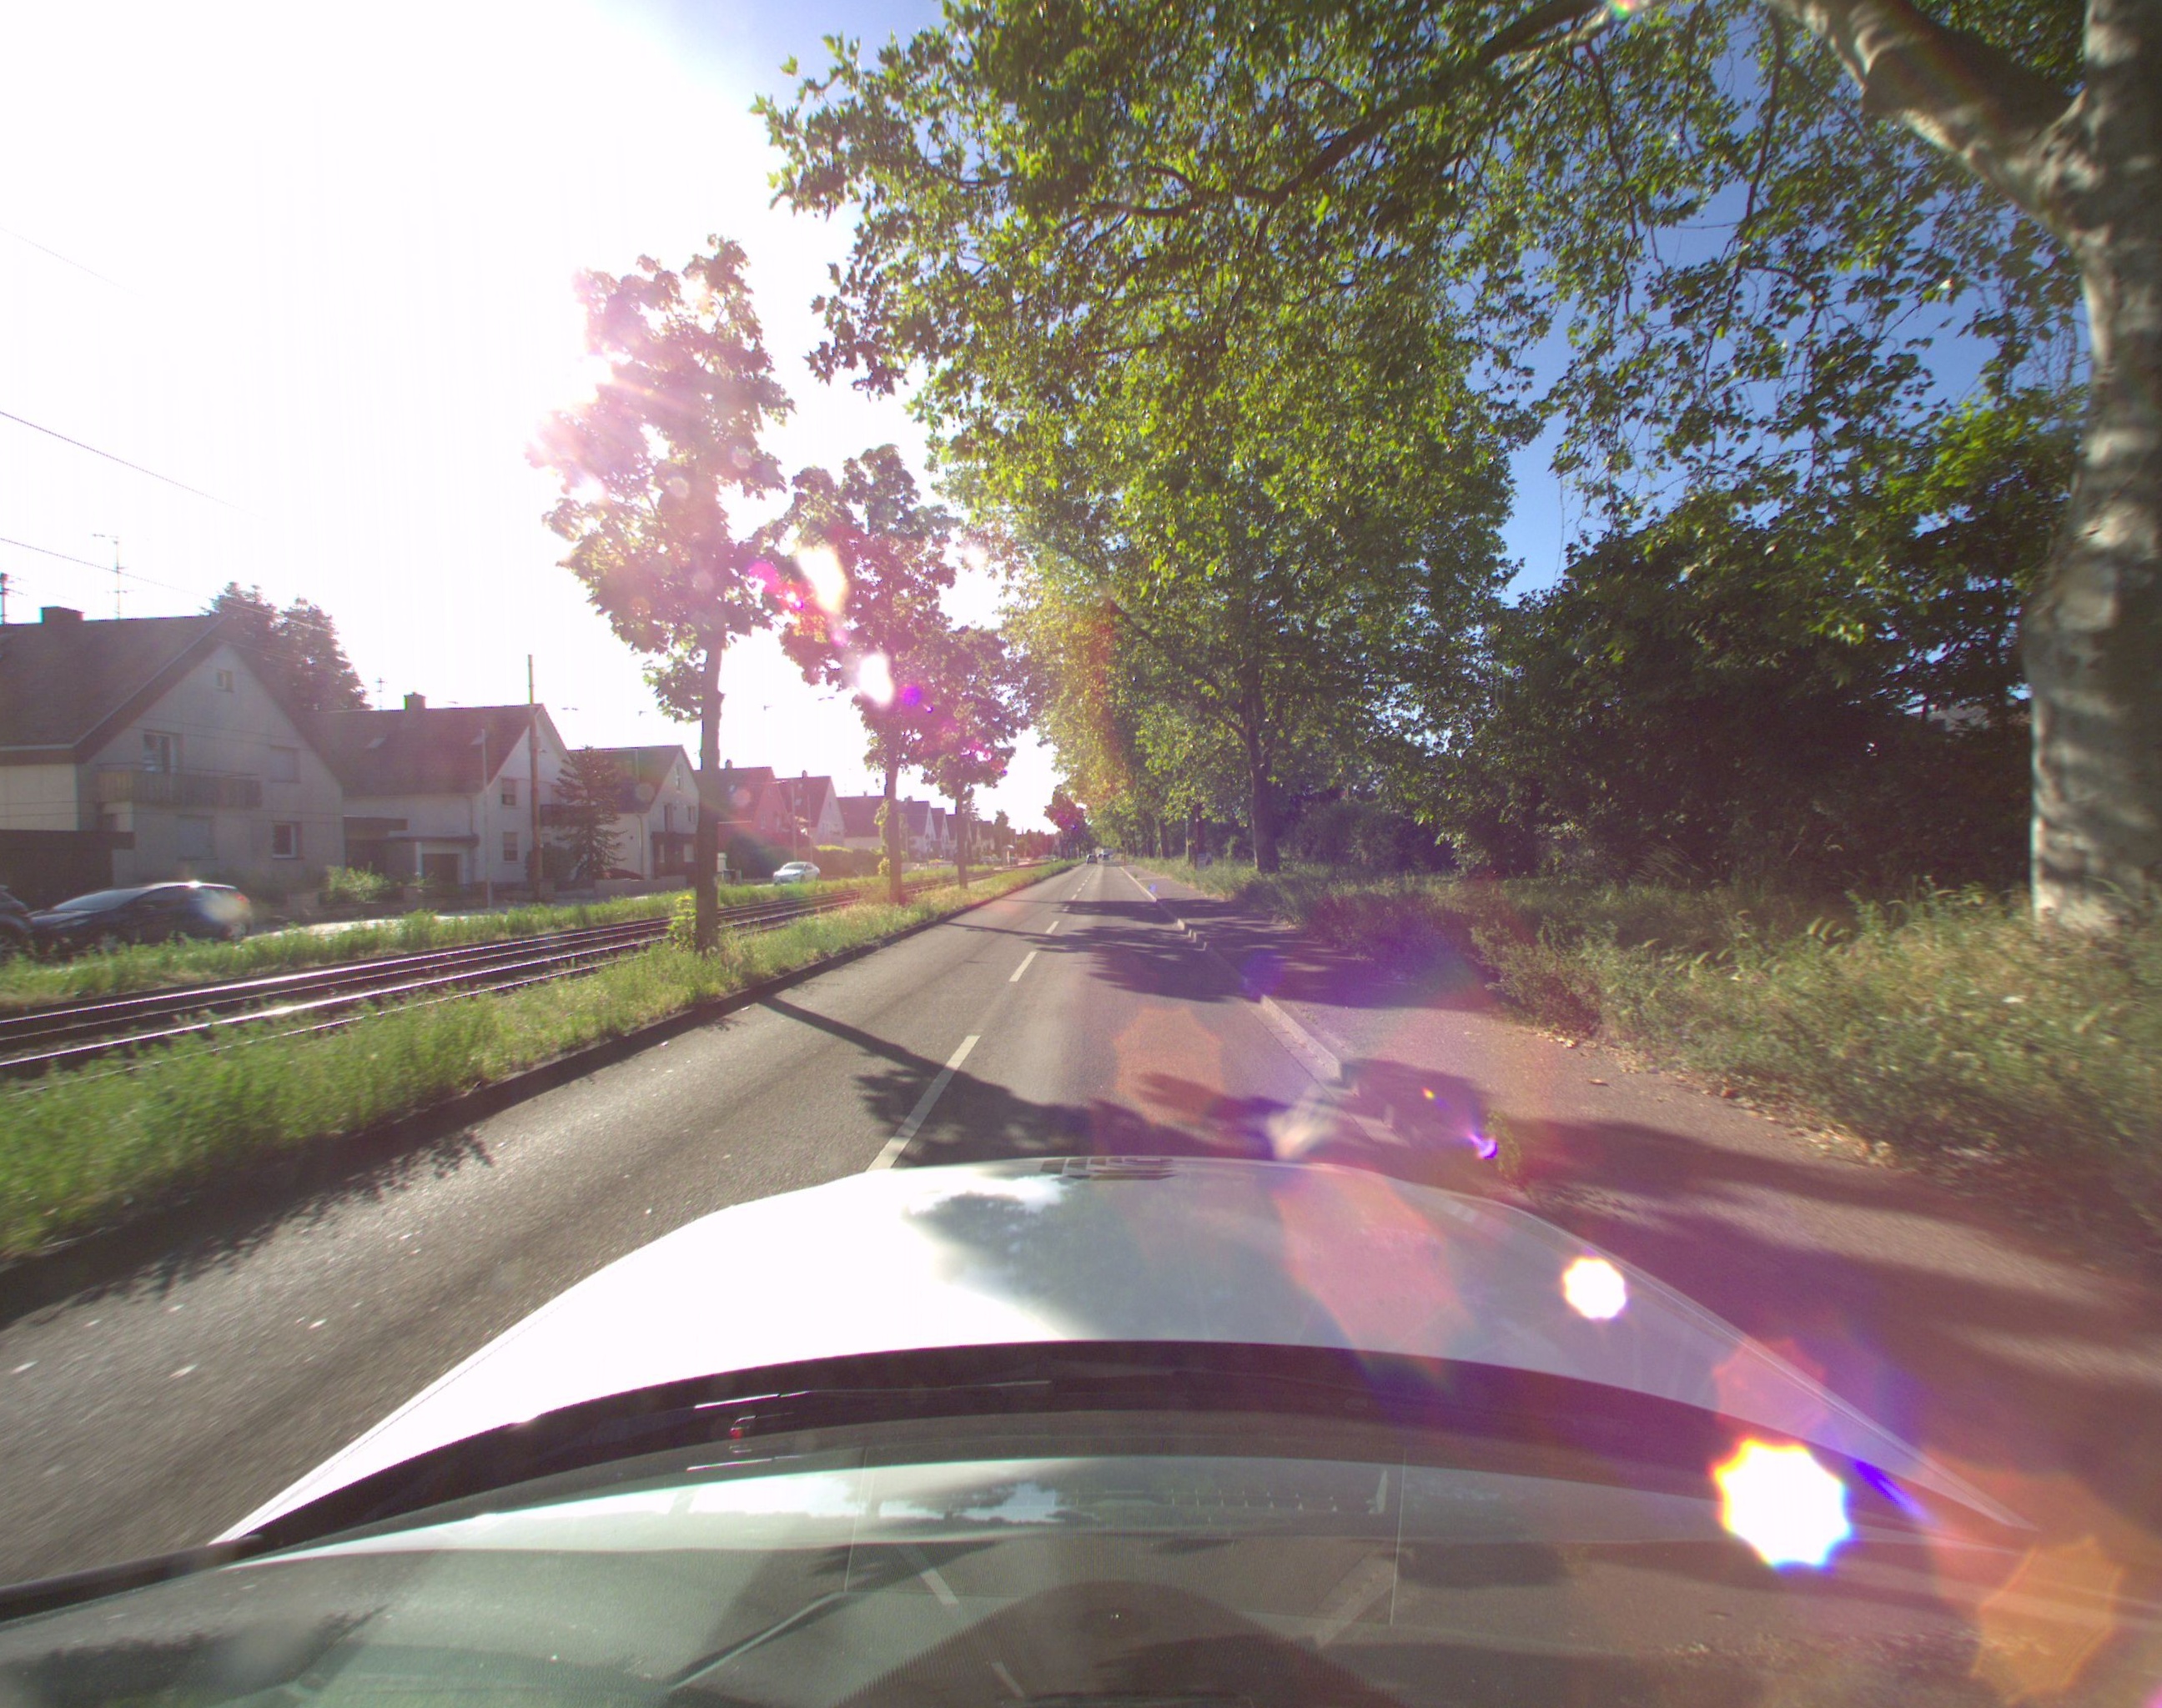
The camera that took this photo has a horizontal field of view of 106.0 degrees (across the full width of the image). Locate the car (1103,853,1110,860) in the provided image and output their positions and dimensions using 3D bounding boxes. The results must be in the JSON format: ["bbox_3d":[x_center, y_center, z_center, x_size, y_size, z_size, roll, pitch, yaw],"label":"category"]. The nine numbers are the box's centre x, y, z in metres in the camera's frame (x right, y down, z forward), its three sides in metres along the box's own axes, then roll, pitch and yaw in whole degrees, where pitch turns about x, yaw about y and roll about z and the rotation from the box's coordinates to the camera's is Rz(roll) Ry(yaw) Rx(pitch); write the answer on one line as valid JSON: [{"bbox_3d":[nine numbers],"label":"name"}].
[{"bbox_3d":[6.002,0.623,192.459,1.754,1.513,3.279,-1,0,2],"label":"car"}]

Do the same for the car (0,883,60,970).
[{"bbox_3d":[-20.660,1.348,13.568,1.637,1.568,4.389,-1,0,3],"label":"car"}]

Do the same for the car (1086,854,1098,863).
[{"bbox_3d":[1.693,0.693,123.857,1.732,1.401,3.278,-1,0,1],"label":"car"}]

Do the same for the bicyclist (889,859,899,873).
[{"bbox_3d":[-16.807,1.091,73.183,0.796,1.278,0.736,-1,-1,-1],"label":"bicyclist"}]

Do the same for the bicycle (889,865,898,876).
[{"bbox_3d":[-16.800,1.458,73.119,0.440,0.901,2.059,-1,0,-3],"label":"bicycle"}]

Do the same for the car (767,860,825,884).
[{"bbox_3d":[-19.802,1.237,56.826,1.984,1.599,4.738,-1,0,5],"label":"car"}]

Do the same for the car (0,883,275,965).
[{"bbox_3d":[-20.480,1.442,17.831,1.608,1.451,3.990,-1,0,2],"label":"car"}]

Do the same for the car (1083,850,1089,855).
[{"bbox_3d":[1.552,-0.333,230.315,1.521,1.455,3.289,-1,0,3],"label":"car"}]
